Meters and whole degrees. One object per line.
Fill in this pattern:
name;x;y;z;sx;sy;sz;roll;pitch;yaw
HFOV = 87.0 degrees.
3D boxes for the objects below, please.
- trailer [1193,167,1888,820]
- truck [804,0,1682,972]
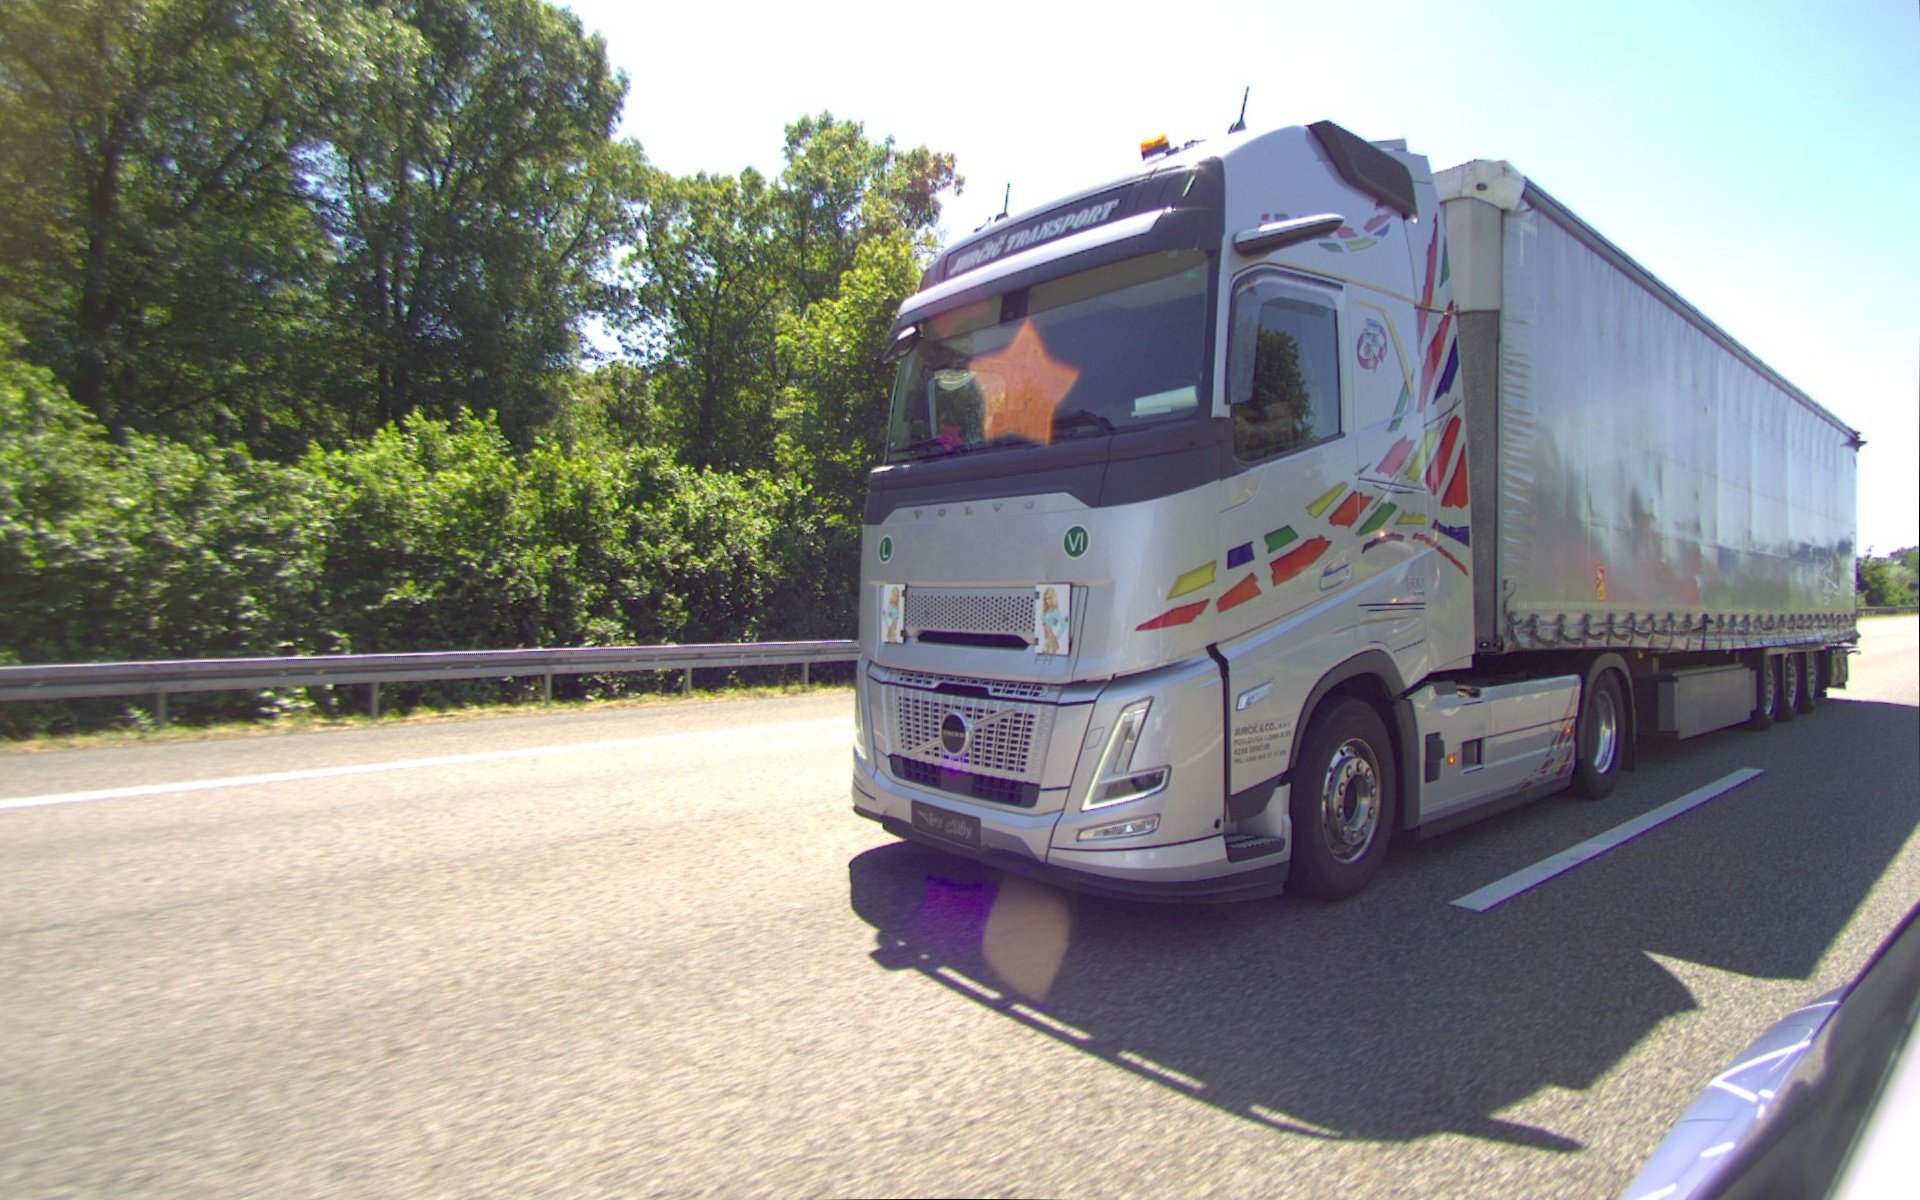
trailer;7.857;-0.699;11.698;13.416;4.025;2.744;0;0;-41
truck;2.387;-0.656;6.909;6.388;4.025;2.727;0;0;-41
